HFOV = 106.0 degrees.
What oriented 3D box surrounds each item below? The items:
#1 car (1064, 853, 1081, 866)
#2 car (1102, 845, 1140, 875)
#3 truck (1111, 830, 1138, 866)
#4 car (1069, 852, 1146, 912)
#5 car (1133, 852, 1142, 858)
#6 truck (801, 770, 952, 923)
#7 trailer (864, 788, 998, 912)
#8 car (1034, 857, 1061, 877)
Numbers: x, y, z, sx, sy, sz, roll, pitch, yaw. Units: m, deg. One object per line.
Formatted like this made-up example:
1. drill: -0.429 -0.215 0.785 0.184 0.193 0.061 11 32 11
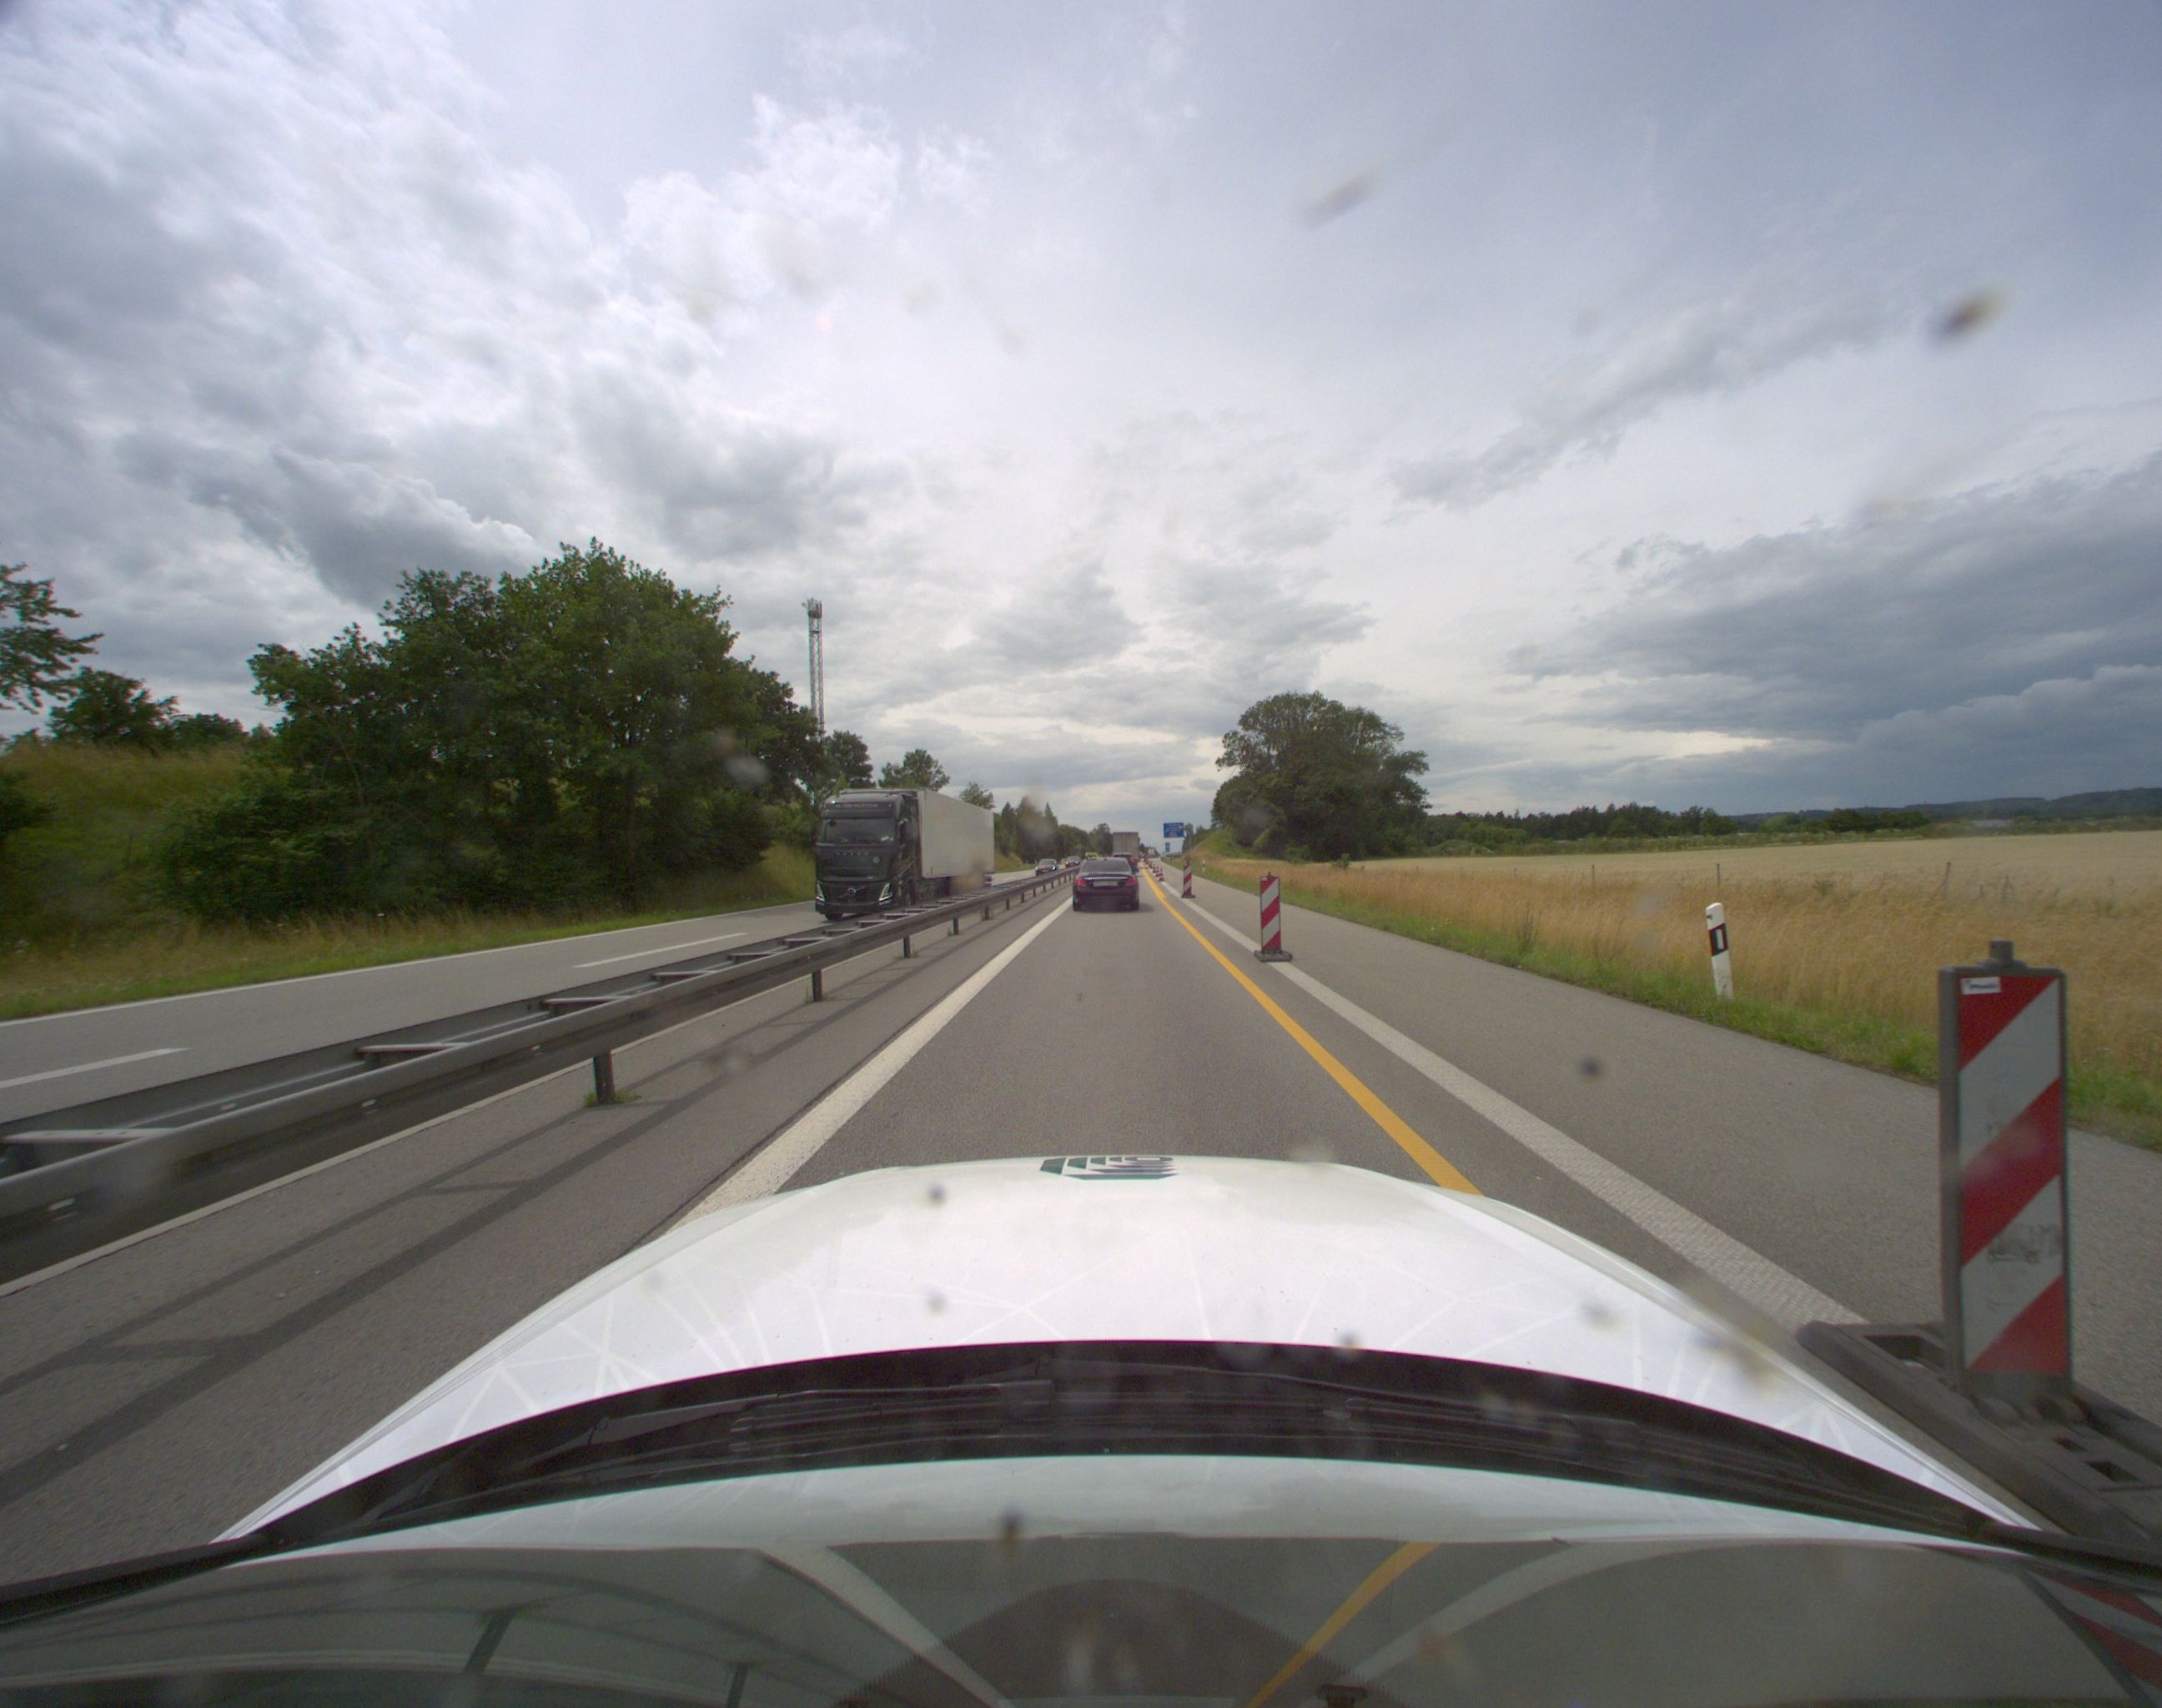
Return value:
1. car: -1.047 0.688 102.741 1.985 1.618 4.002 0 -1 3
2. car: 2.701 0.423 56.072 1.992 2.014 3.989 0 -1 -7
3. truck: 4.411 -0.580 83.624 2.578 3.525 4.812 0 -1 0
4. car: 0.851 0.755 23.303 1.786 1.560 4.008 0 -1 7
5. car: 13.549 0.275 195.856 1.645 1.396 3.702 0 -1 -3
6. truck: -6.146 -0.160 25.776 2.629 4.170 6.990 0 -1 3
7. trailer: -5.690 -0.039 33.652 2.628 4.170 12.197 0 -1 3
8. car: -2.874 1.134 71.025 1.985 1.618 4.002 0 -1 3
